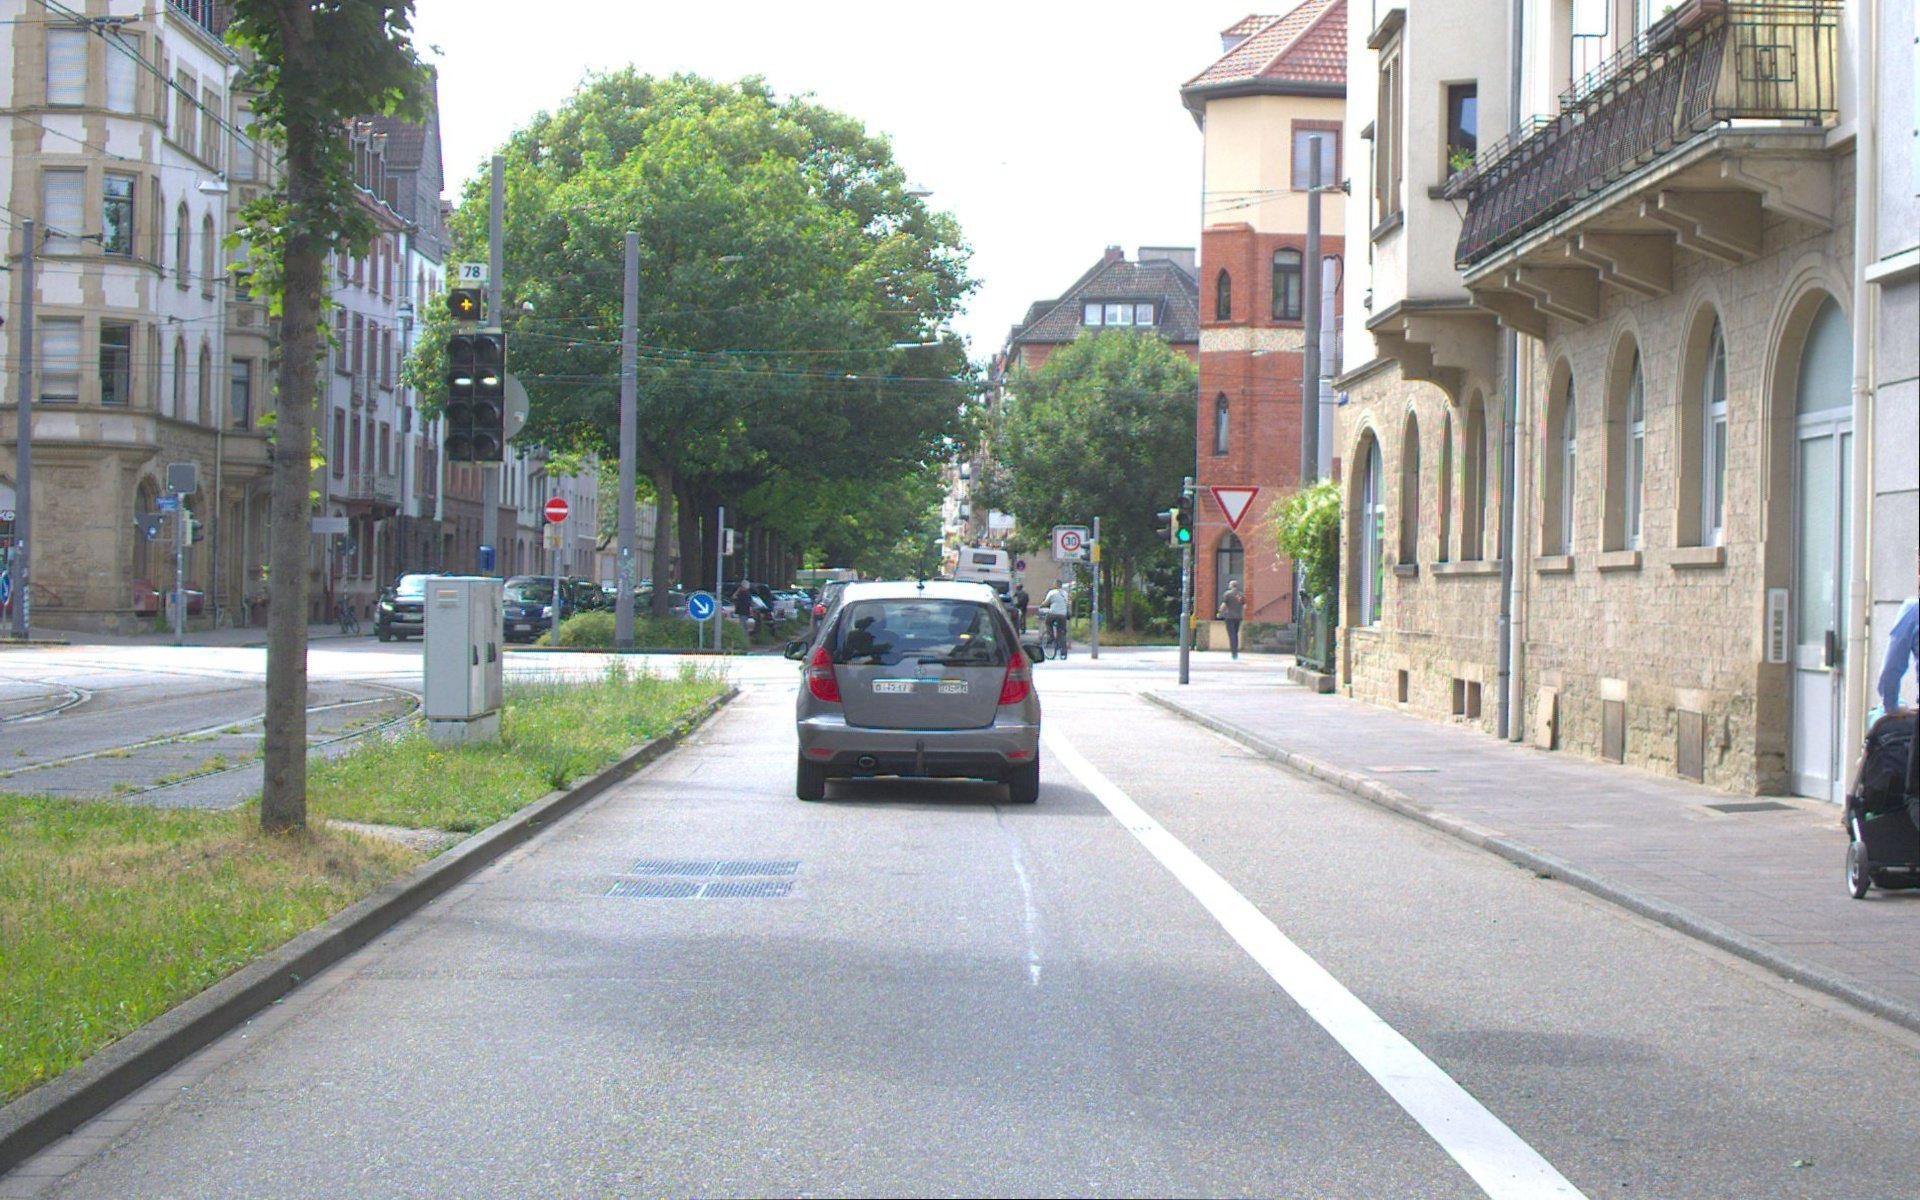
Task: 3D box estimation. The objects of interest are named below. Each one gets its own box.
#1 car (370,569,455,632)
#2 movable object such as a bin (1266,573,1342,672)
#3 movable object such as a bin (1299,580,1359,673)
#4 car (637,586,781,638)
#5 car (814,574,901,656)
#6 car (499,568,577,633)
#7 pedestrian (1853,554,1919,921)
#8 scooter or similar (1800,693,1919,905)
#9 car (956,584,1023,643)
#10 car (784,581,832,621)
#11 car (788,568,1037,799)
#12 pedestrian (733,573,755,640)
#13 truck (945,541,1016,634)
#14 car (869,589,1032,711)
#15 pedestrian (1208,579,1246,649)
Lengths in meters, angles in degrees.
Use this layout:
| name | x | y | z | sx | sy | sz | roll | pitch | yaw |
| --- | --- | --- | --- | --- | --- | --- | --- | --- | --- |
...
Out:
| name | x | y | z | sx | sy | sz | roll | pitch | yaw |
| --- | --- | --- | --- | --- | --- | --- | --- | --- | --- |
| car | -14.544 | 0.003 | 91.453 | 1.993 | 1.612 | 4.001 | 0 | 0 | -6 |
| movable object such as a bin | 5.461 | 0.350 | 54.716 | 1.050 | 1.534 | 2.100 | 0 | 0 | 2 |
| movable object such as a bin | 5.860 | 0.413 | 54.617 | 0.714 | 1.467 | 0.983 | 0 | 0 | -9 |
| car | -6.902 | 0.317 | 94.224 | 1.969 | 1.334 | 3.999 | 1 | 0 | -40 |
| car | -2.166 | 0.303 | 73.579 | 1.722 | 1.700 | 3.677 | 0 | 0 | 0 |
| car | -11.398 | 0.010 | 92.943 | 1.993 | 1.722 | 4.001 | 0 | 0 | -6 |
| pedestrian | 4.752 | 0.645 | 16.676 | 0.621 | 1.733 | 0.877 | 0 | 0 | 0 |
| scooter or similar | 4.716 | 1.001 | 17.551 | 0.592 | 0.998 | 0.905 | -3 | 0 | 0 |
| car | 0.879 | 0.378 | 99.498 | 1.752 | 1.627 | 3.499 | 1 | 0 | 3 |
| car | -6.042 | 0.030 | 136.911 | 1.752 | 1.512 | 3.499 | 1 | 0 | 0 |
| car | -0.324 | 0.581 | 25.877 | 1.722 | 1.600 | 3.677 | 0 | 0 | 0 |
| pedestrian | -5.617 | 0.162 | 89.454 | 0.493 | 1.719 | 0.654 | 1 | 0 | -6 |
| truck | 0.684 | -0.410 | 112.550 | 2.123 | 2.960 | 3.999 | 0 | 0 | 3 |
| car | -0.119 | 0.606 | 44.216 | 1.980 | 1.437 | 4.000 | 1 | 0 | 0 |
| pedestrian | 6.356 | 0.325 | 81.786 | 0.869 | 1.651 | 0.736 | 1 | 0 | 4 |
